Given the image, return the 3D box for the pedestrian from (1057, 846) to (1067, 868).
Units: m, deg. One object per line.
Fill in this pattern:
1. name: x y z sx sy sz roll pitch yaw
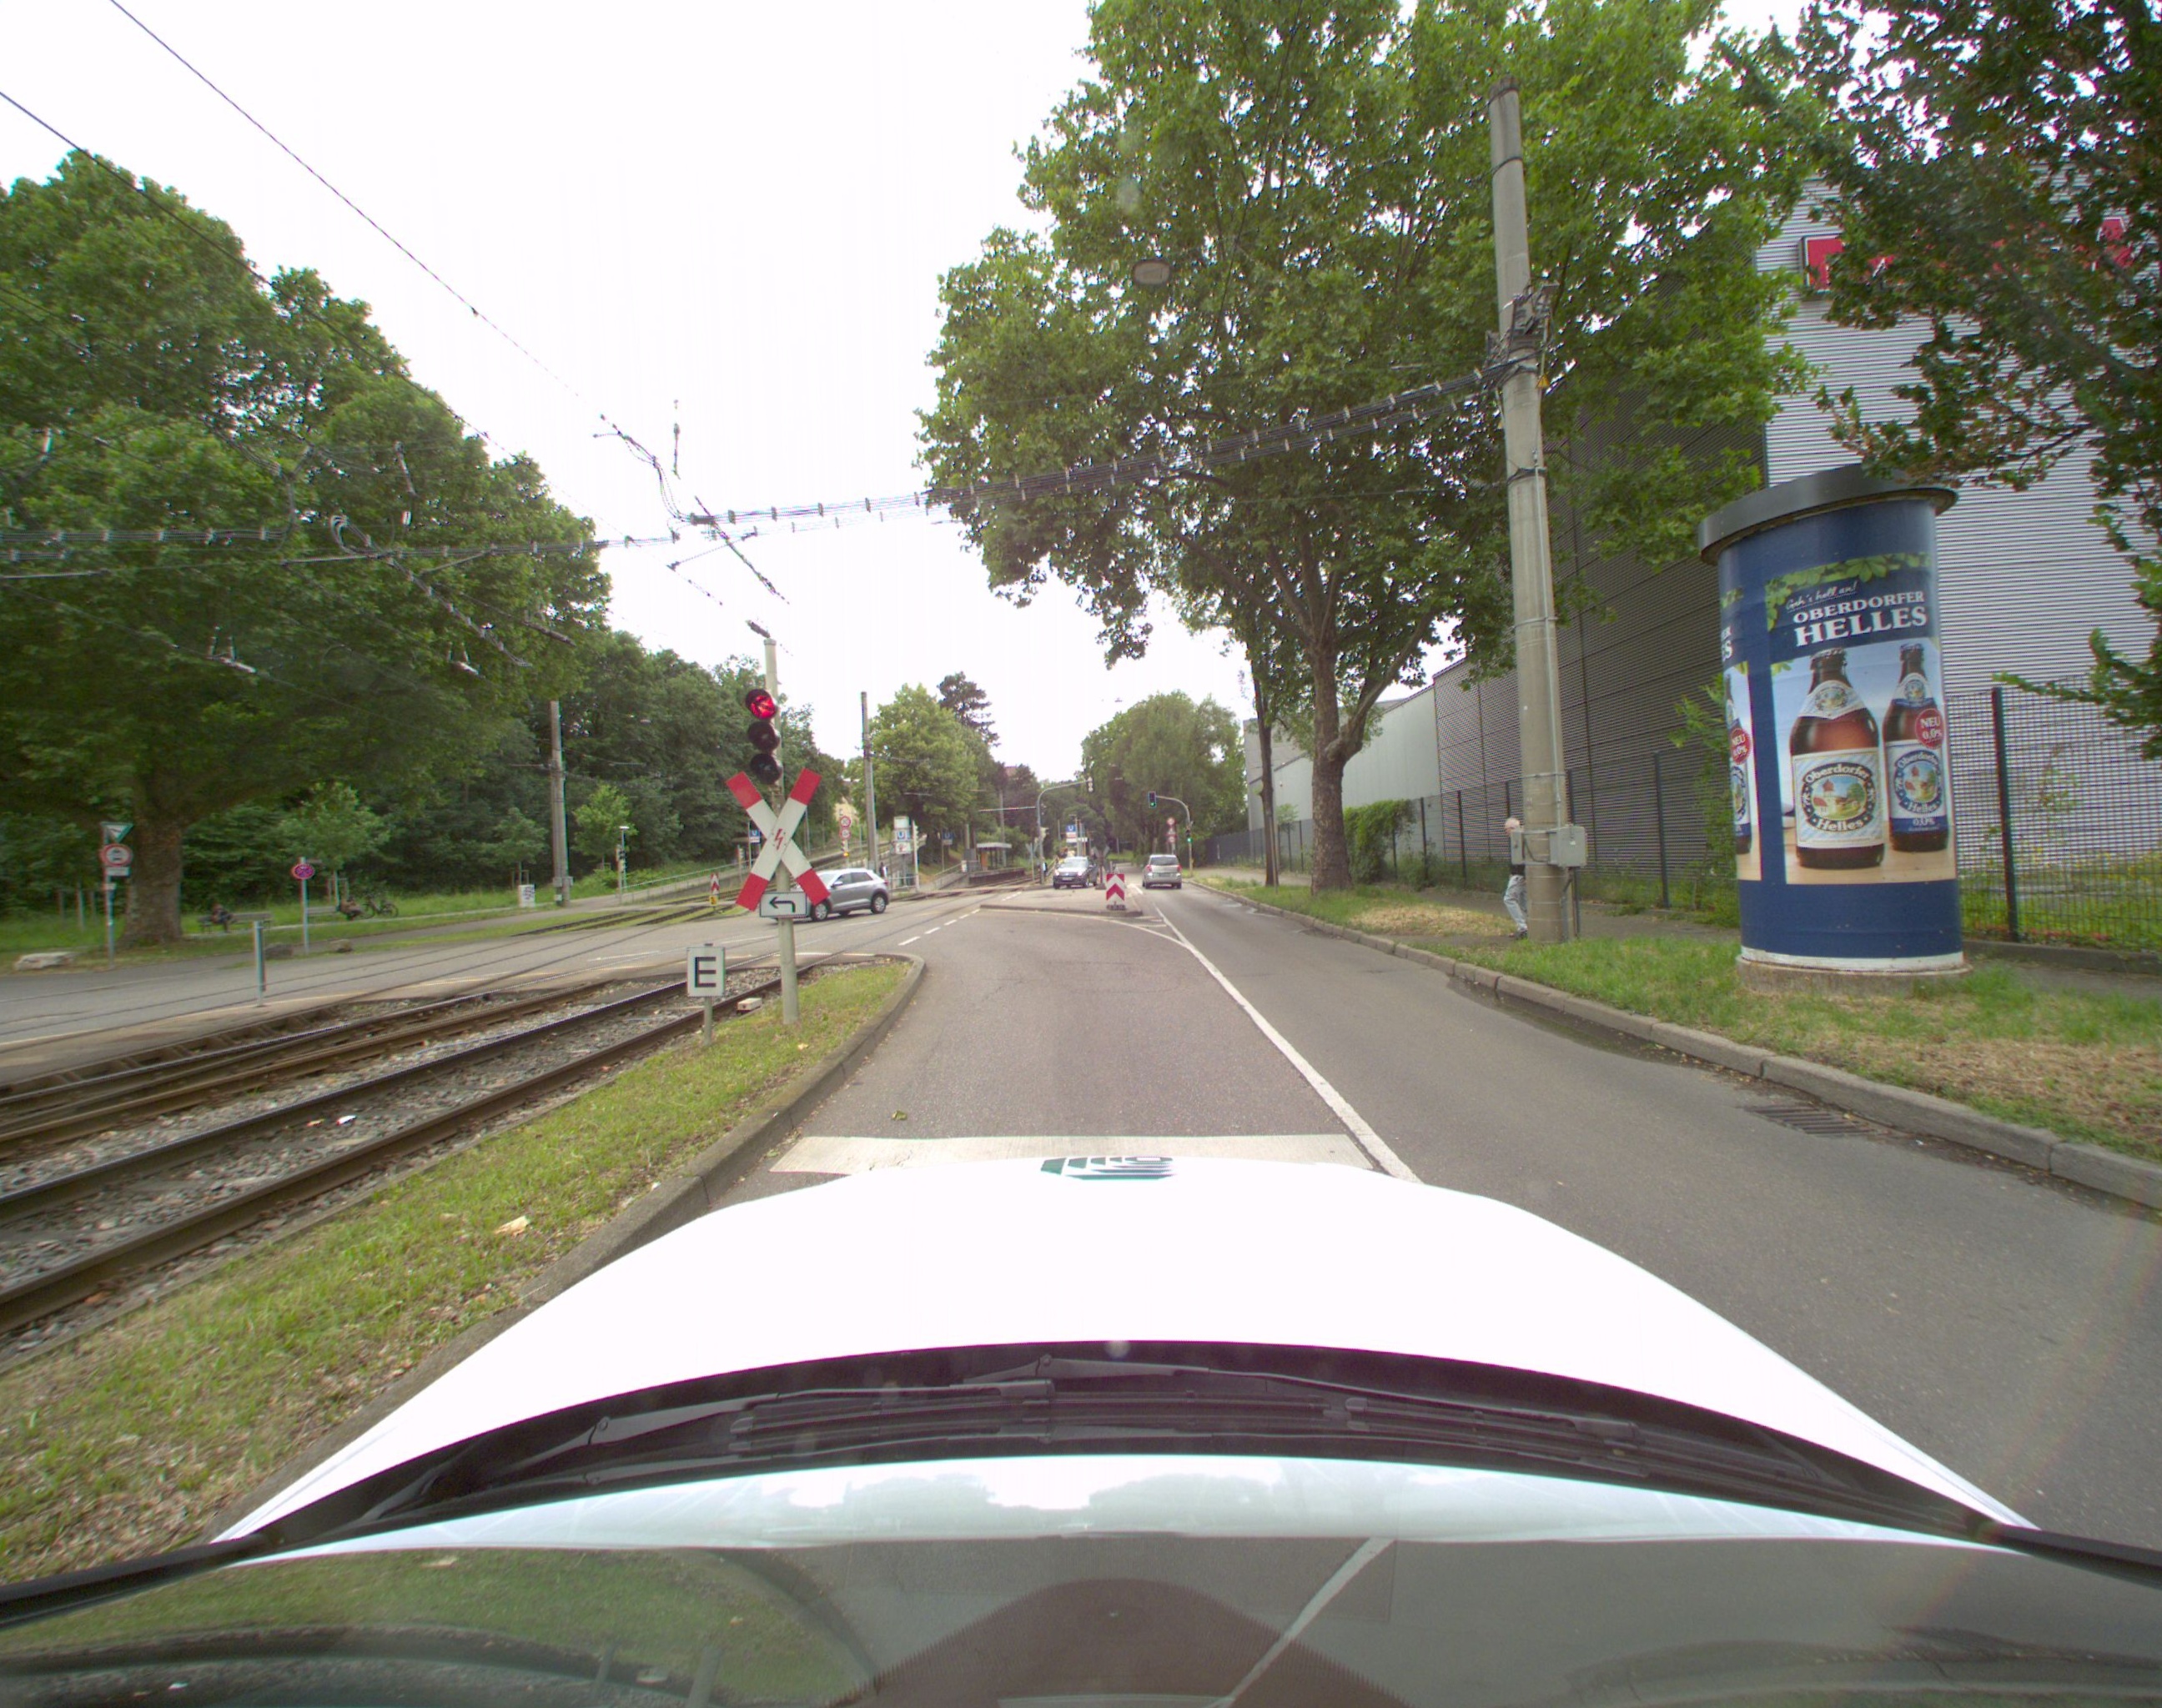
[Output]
1. pedestrian: -1.441 0.261 61.889 0.735 1.665 0.679 0 -1 -9

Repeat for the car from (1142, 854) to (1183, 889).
1. car: 3.927 0.819 39.857 1.737 1.599 4.001 0 -1 2

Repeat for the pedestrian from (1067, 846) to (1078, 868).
1. pedestrian: -0.641 0.226 62.844 0.735 1.665 0.679 0 -1 -9

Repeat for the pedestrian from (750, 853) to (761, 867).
1. pedestrian: -30.711 0.536 76.808 0.771 1.326 0.785 0 -1 -6

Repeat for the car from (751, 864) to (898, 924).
1. car: -8.105 1.234 26.147 1.974 1.578 4.204 -3 0 29

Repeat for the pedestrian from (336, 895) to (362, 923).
1. pedestrian: -33.466 2.526 37.256 0.574 1.235 0.676 -1 -1 15

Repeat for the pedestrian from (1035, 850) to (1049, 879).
1. pedestrian: -2.228 0.590 47.108 0.732 1.665 0.682 0 -1 3

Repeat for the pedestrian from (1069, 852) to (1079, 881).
1. pedestrian: -0.456 0.772 50.960 0.547 1.758 0.739 0 -1 6

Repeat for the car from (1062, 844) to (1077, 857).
1. car: -1.742 -0.532 123.991 1.986 2.014 4.001 0 -1 2

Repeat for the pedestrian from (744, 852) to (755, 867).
1. pedestrian: -30.731 0.525 75.500 0.771 1.326 0.785 0 2 -6

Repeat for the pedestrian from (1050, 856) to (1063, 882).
1. pedestrian: -1.572 0.965 52.225 0.732 1.665 0.682 0 -1 4

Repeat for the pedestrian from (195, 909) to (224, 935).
1. pedestrian: -35.445 2.774 33.126 0.526 0.989 0.623 -1 -1 17

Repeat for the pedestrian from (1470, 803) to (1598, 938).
1. pedestrian: 6.585 0.251 11.884 1.119 1.760 0.809 -8 -5 -15

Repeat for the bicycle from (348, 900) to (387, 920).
1. bicycle: -33.530 2.629 38.270 1.726 0.885 0.625 -1 -1 21

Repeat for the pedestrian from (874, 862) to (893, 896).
1. pedestrian: -10.764 1.336 44.479 0.809 1.821 0.663 0 -1 -38

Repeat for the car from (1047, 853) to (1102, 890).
1. car: -0.294 0.916 43.583 1.887 1.718 4.151 -4 -2 13
